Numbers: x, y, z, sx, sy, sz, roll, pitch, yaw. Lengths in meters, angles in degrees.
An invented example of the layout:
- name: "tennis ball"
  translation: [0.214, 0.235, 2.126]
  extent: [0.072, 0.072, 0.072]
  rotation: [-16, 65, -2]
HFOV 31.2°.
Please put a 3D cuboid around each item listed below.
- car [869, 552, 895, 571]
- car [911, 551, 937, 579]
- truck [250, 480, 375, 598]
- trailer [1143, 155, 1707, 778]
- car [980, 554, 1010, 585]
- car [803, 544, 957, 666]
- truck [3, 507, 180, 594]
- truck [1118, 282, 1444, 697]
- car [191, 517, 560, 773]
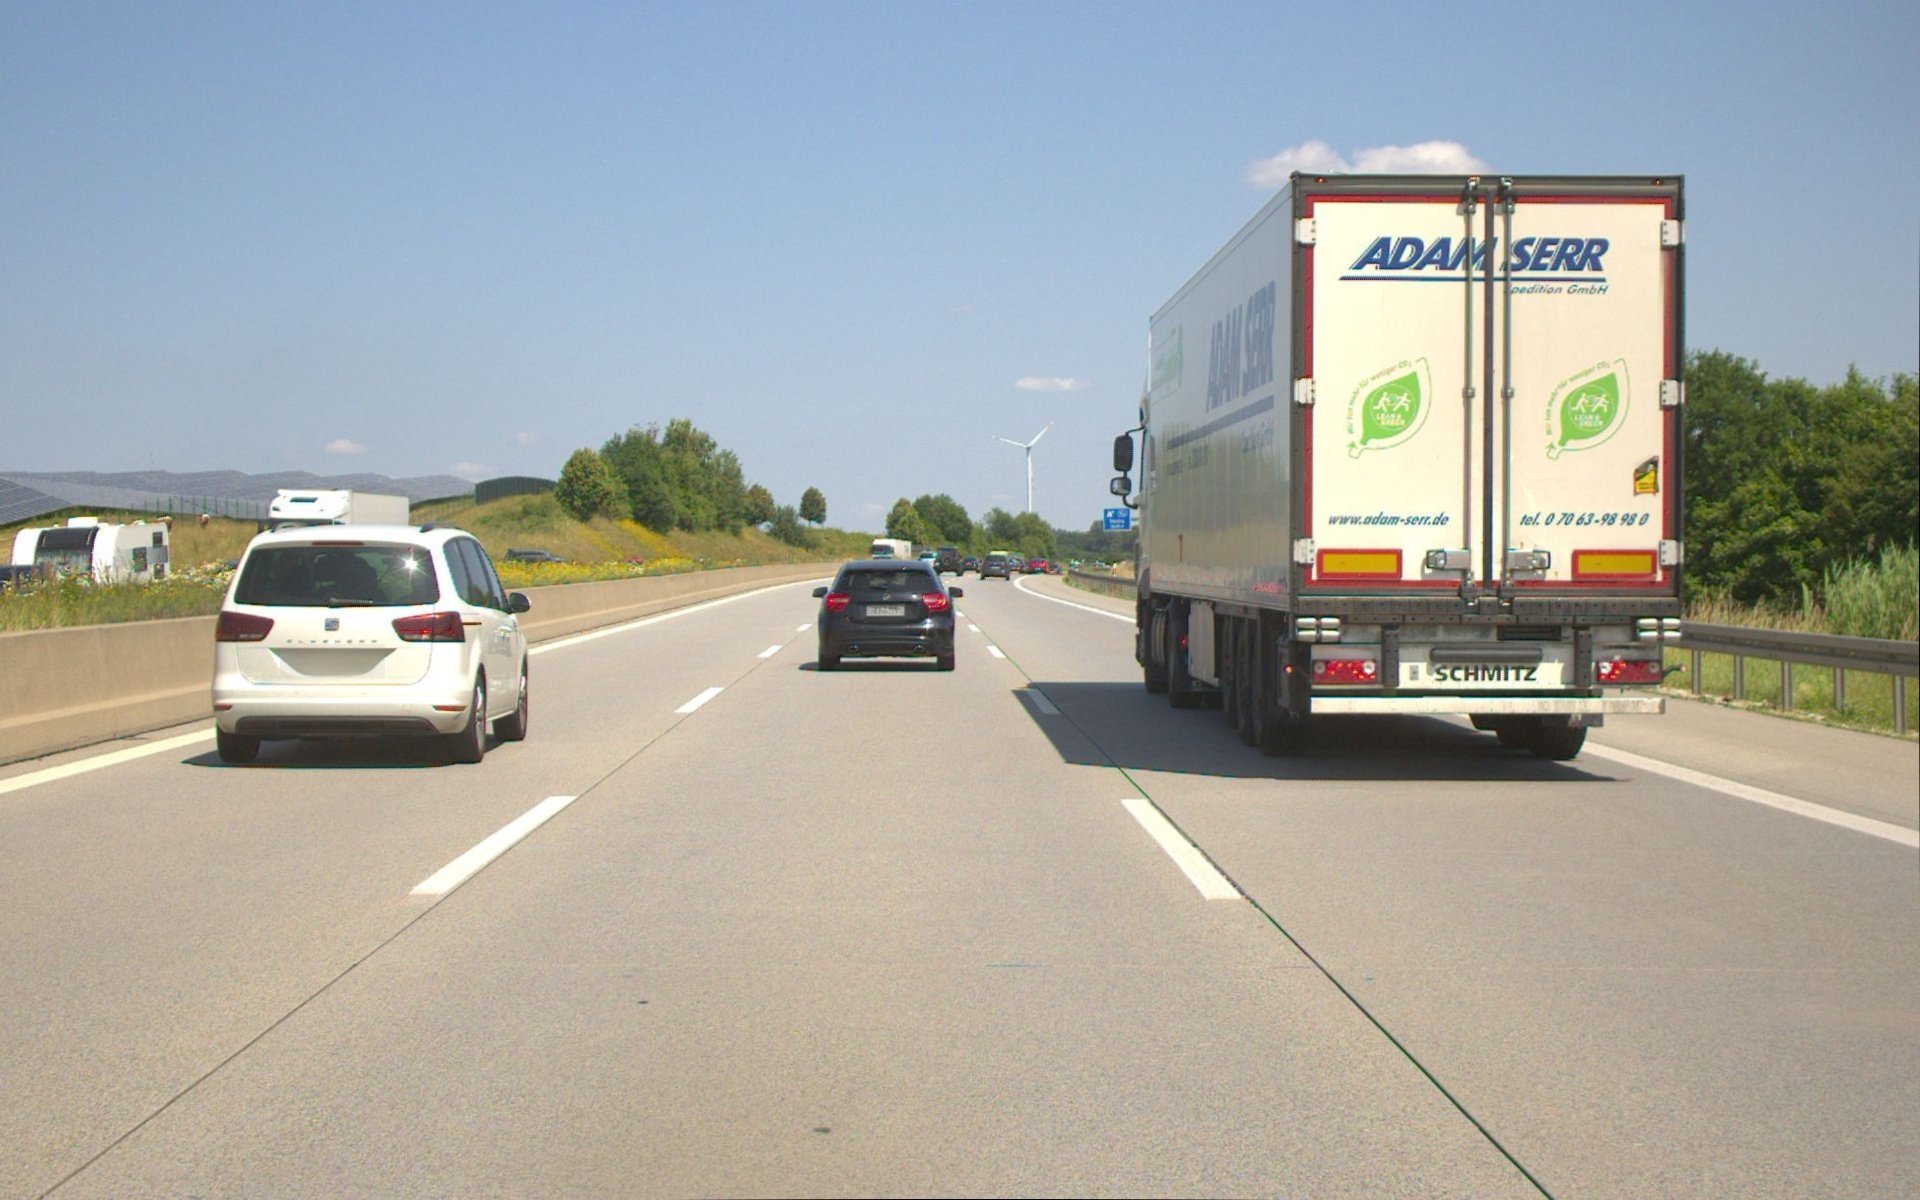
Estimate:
- name: "car"
  translation: [-5.316, -2.620, 235.031]
  extent: [1.655, 1.192, 3.960]
  rotation: [3, 1, -1]
- name: "car"
  translation: [-2.521, -2.495, 242.998]
  extent: [1.827, 1.931, 3.809]
  rotation: [0, 0, 0]
- name: "truck"
  translation: [-22.818, -2.114, 121.516]
  extent: [3.090, 3.991, 7.255]
  rotation: [1, 0, -1]
- name: "trailer"
  translation: [3.374, -0.955, 28.822]
  extent: [2.852, 4.029, 12.714]
  rotation: [1, 1, 0]
- name: "car"
  translation: [2.240, -1.927, 217.590]
  extent: [1.827, 1.900, 4.000]
  rotation: [1, 1, 1]
- name: "car"
  translation: [-1.109, 0.032, 45.498]
  extent: [1.910, 1.487, 4.192]
  rotation: [1, 1, -3]
- name: "truck"
  translation: [-21.388, -1.201, 85.043]
  extent: [2.517, 2.007, 7.630]
  rotation: [1, 0, -1]
- name: "truck"
  translation: [3.311, -1.130, 36.916]
  extent: [2.812, 4.074, 5.799]
  rotation: [1, 1, -1]
- name: "car"
  translation: [-4.311, 0.284, 26.304]
  extent: [1.845, 1.702, 6.036]
  rotation: [1, 0, -1]
